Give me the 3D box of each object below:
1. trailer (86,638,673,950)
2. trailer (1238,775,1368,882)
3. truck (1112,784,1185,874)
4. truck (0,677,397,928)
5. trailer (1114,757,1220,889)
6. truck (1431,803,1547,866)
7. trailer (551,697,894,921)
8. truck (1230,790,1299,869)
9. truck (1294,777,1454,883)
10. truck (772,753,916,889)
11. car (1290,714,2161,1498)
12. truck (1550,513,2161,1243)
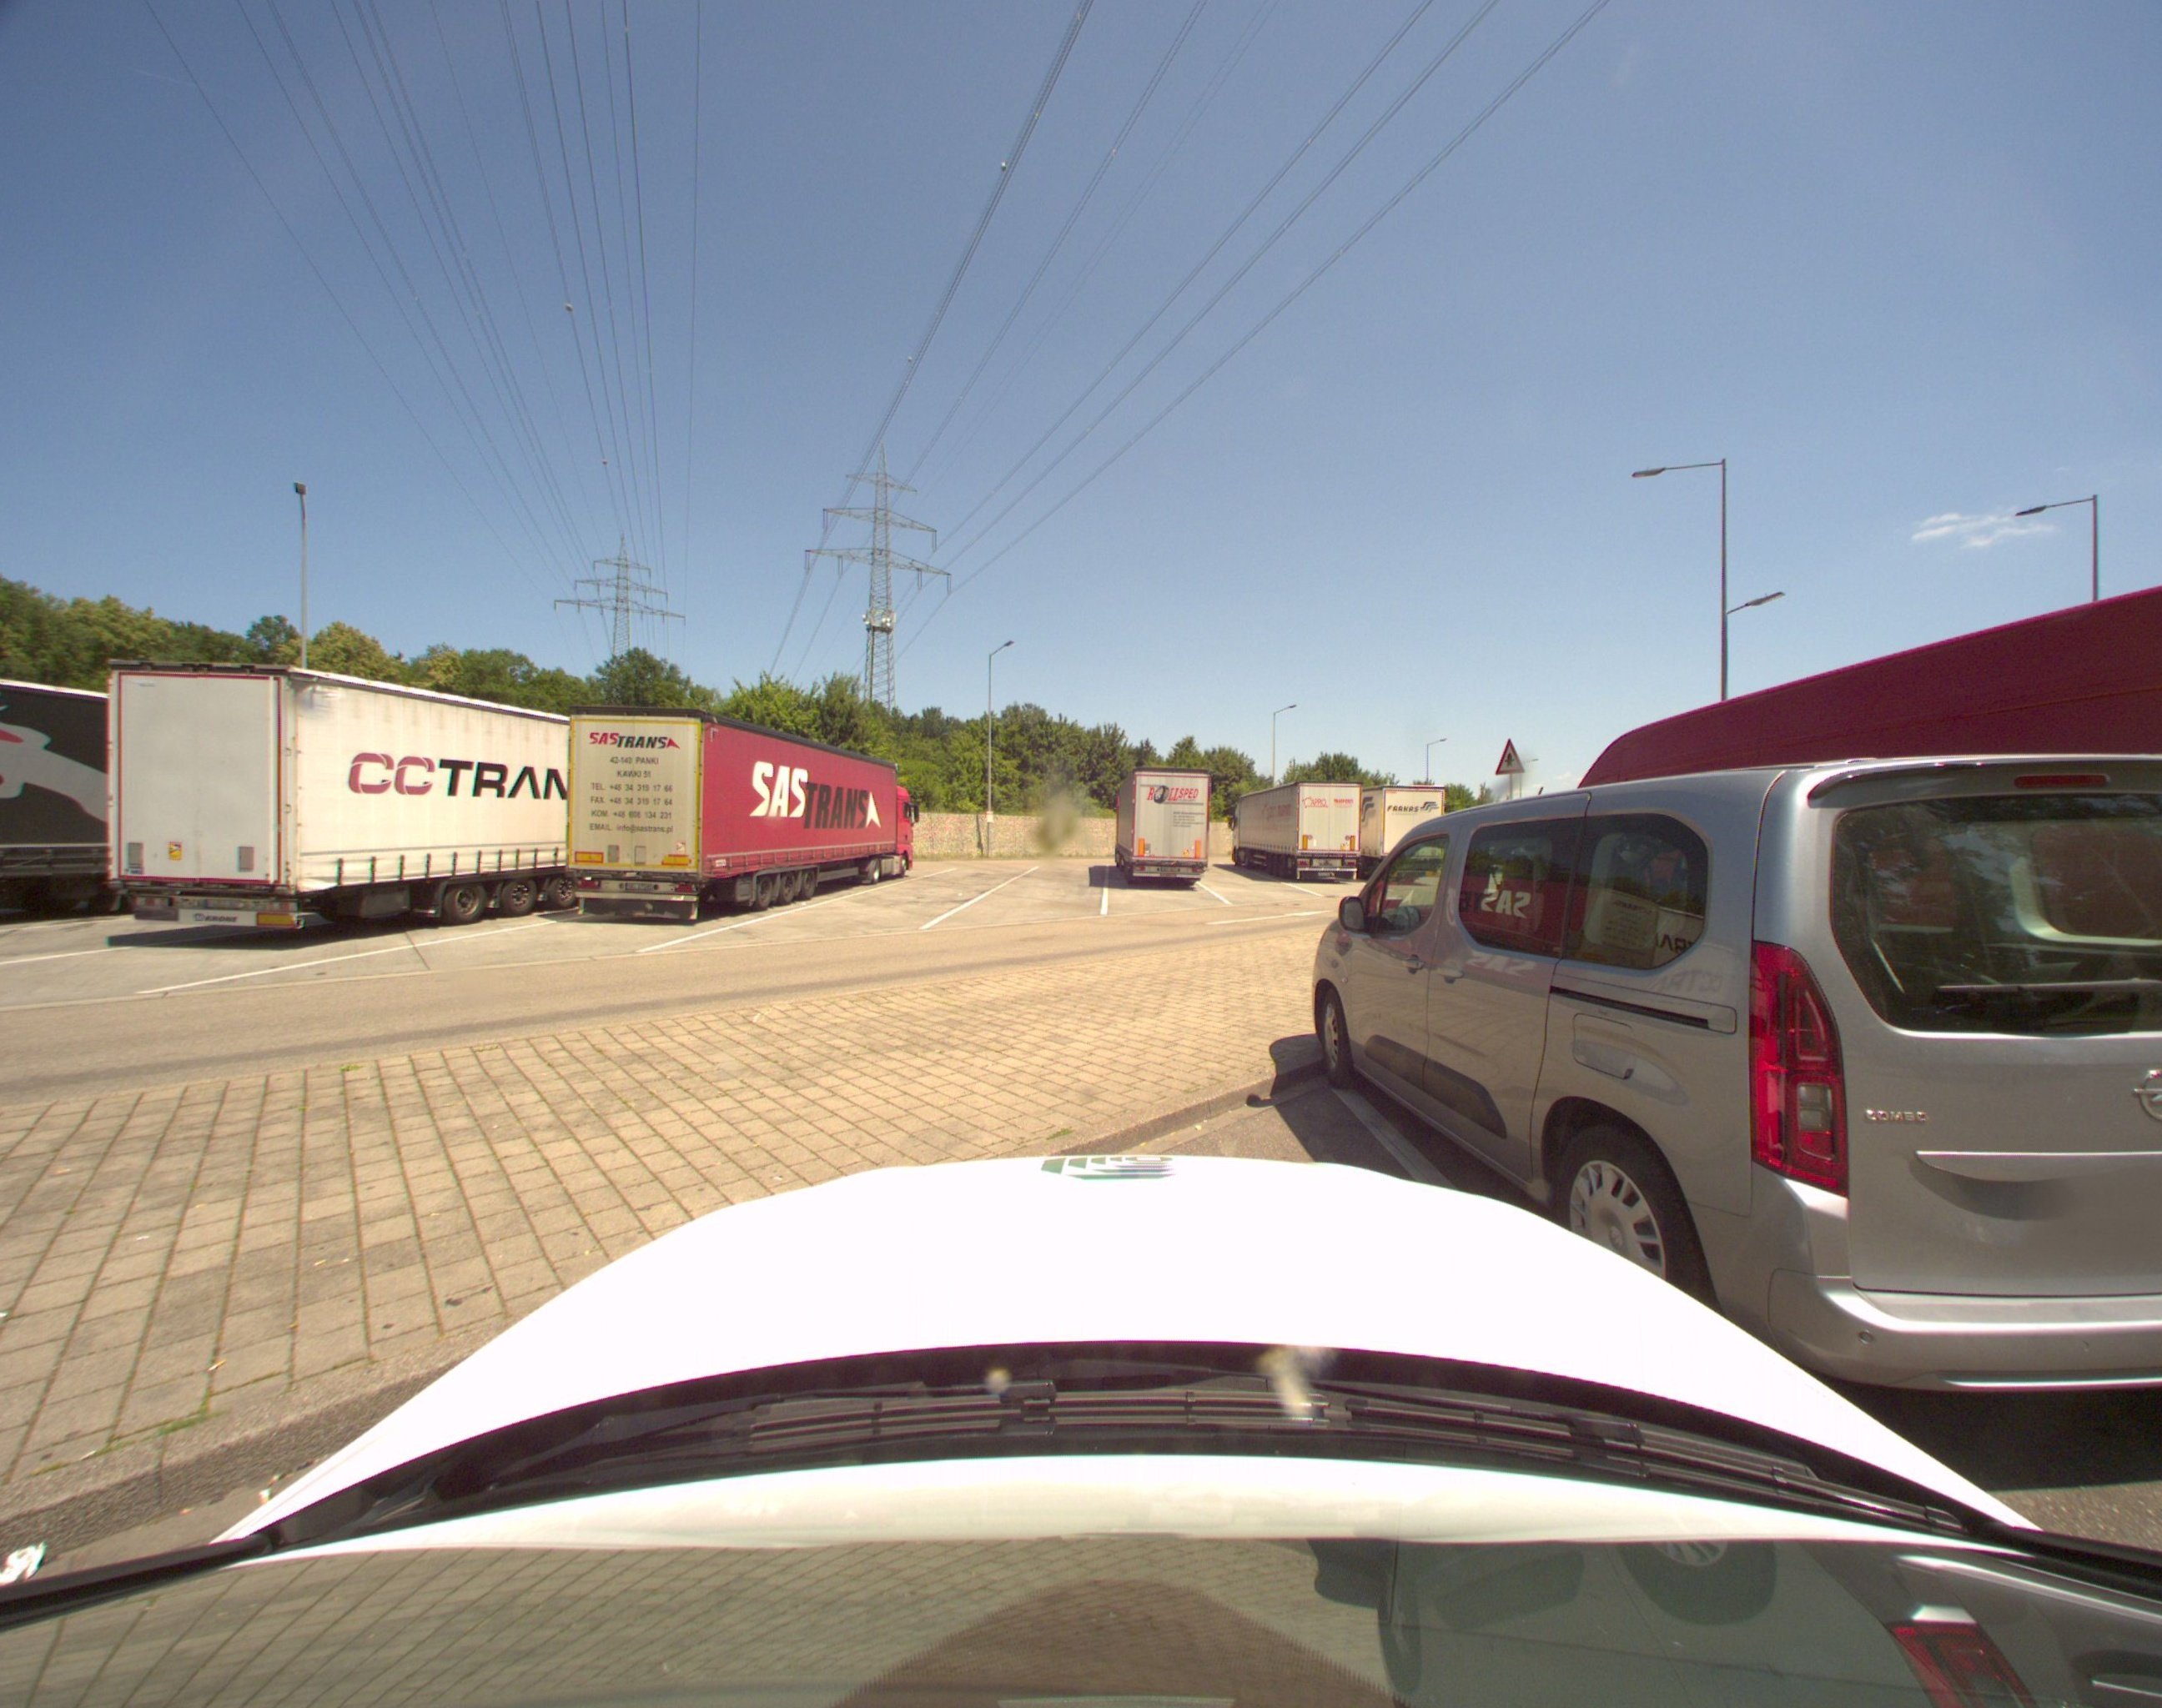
[{"bbox_3d":[-12.108,-0.896,16.078,2.734,4.263,9.740,-1,1,3],"label":"trailer"},{"bbox_3d":[9.930,-1.112,38.417,2.865,4.124,13.577,0,1,2],"label":"trailer"},{"bbox_3d":[3.117,-1.229,39.518,3.016,3.928,6.848,1,2,1],"label":"truck"},{"bbox_3d":[-18.520,-0.855,15.971,2.627,4.018,8.640,-1,1,2],"label":"truck"},{"bbox_3d":[3.036,-1.194,32.745,3.059,4.227,12.811,1,2,1],"label":"trailer"},{"bbox_3d":[24.451,-1.142,49.444,3.013,3.437,8.534,-1,1,2],"label":"truck"},{"bbox_3d":[-8.056,-0.920,21.496,2.739,4.057,13.292,-1,1,2],"label":"trailer"},{"bbox_3d":[10.118,-1.351,45.420,2.747,4.124,5.286,-1,1,2],"label":"truck"},{"bbox_3d":[13.565,-1.067,39.661,2.894,4.124,14.533,2,1,2],"label":"truck"},{"bbox_3d":[-7.848,-1.054,28.021,2.733,4.081,6.832,-1,1,1],"label":"truck"},{"bbox_3d":[2.463,0.528,3.858,1.821,1.753,3.998,-1,1,-2],"label":"car"},{"bbox_3d":[5.092,0.048,4.880,1.983,2.623,5.312,-1,1,6],"label":"truck"}]
